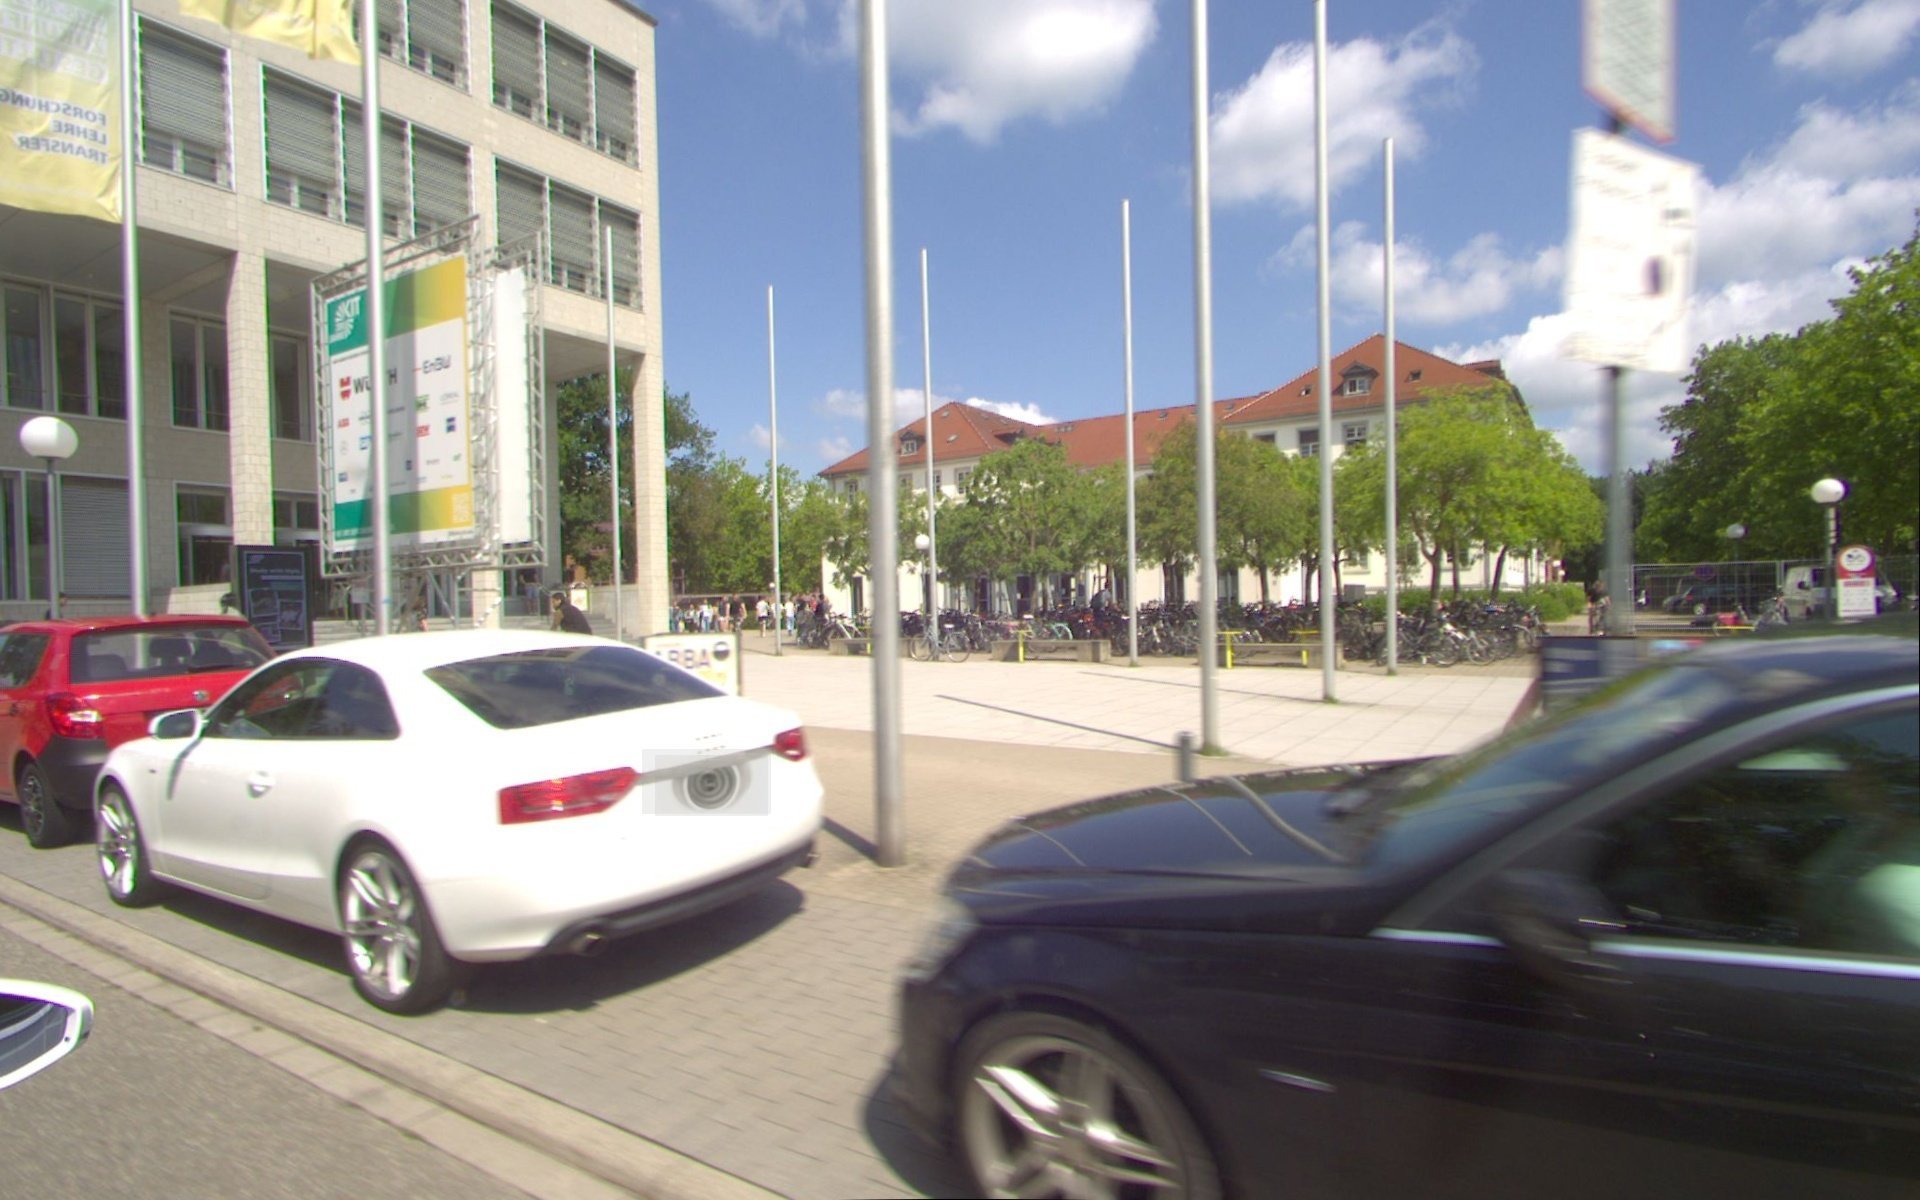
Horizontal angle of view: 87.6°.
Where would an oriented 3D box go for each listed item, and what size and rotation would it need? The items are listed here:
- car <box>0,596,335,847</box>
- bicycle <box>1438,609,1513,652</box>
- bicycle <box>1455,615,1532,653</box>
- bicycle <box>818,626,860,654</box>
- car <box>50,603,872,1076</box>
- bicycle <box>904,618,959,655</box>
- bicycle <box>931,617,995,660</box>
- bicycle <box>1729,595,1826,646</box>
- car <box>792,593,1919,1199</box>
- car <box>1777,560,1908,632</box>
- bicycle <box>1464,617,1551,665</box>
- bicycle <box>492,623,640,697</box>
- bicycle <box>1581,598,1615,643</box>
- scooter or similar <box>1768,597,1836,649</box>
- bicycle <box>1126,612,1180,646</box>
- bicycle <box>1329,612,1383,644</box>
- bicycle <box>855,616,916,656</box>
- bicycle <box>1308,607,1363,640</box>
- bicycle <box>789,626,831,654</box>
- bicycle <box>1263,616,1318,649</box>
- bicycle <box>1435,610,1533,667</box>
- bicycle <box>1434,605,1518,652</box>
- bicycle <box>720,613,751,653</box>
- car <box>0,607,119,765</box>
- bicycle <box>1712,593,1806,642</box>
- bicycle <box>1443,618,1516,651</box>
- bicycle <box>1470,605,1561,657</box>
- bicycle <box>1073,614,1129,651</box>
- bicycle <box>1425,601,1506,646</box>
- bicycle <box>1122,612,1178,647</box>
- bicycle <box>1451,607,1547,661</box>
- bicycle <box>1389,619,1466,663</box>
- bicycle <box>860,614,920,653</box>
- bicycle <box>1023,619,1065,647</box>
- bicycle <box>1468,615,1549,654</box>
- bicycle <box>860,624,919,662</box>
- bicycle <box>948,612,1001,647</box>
[{"bbox_3d":[-6.919,0.793,8.019,4.088,1.517,1.610,-1,2,33],"label":"car"},{"bbox_3d":[14.620,0.865,28.428,1.733,1.113,0.604,-3,-1,3],"label":"bicycle"},{"bbox_3d":[14.370,0.918,26.996,1.733,0.967,0.604,-1,-1,3],"label":"bicycle"},{"bbox_3d":[-3.713,1.228,30.830,0.511,0.803,1.764,-1,0,20],"label":"bicycle"},{"bbox_3d":[-2.715,0.811,5.068,4.377,1.419,1.713,-2,2,33],"label":"car"},{"bbox_3d":[-0.946,1.201,33.114,1.733,1.113,0.604,-3,-1,2],"label":"bicycle"},{"bbox_3d":[0.098,1.072,27.950,1.733,1.113,0.604,-3,-1,2],"label":"bicycle"},{"bbox_3d":[19.430,0.497,23.826,1.733,1.113,0.604,-3,-1,3],"label":"bicycle"},{"bbox_3d":[2.097,0.715,1.900,4.880,1.419,1.713,-2,1,33],"label":"car"},{"bbox_3d":[25.549,-0.088,29.194,1.876,1.889,4.918,-2,-1,30],"label":"car"},{"bbox_3d":[13.185,0.978,24.150,1.733,1.113,0.604,-1,-1,3],"label":"bicycle"},{"bbox_3d":[-6.229,0.940,15.822,2.118,1.093,0.901,-2,0,22],"label":"bicycle"},{"bbox_3d":[17.129,0.536,26.925,0.598,1.153,1.582,0,1,27],"label":"bicycle"},{"bbox_3d":[21.014,0.580,25.007,1.276,1.249,0.280,-2,1,19],"label":"scooter or similar"},{"bbox_3d":[6.717,1.009,34.829,1.733,1.113,0.604,-3,-1,2],"label":"bicycle"},{"bbox_3d":[14.947,1.069,37.816,1.733,1.113,0.604,-3,-1,2],"label":"bicycle"},{"bbox_3d":[-2.226,1.076,30.098,1.733,1.113,0.604,-3,-1,2],"label":"bicycle"},{"bbox_3d":[13.747,0.879,36.724,1.733,1.113,0.604,-3,-1,2],"label":"bicycle"},{"bbox_3d":[-4.690,1.252,31.372,0.511,0.803,1.764,-1,0,20],"label":"bicycle"},{"bbox_3d":[11.833,1.163,35.893,1.733,1.113,0.604,-3,-1,2],"label":"bicycle"},{"bbox_3d":[11.268,0.825,21.576,1.733,1.113,0.604,-3,-1,3],"label":"bicycle"},{"bbox_3d":[12.780,0.699,24.821,1.733,1.113,0.604,-1,0,3],"label":"bicycle"},{"bbox_3d":[-6.853,0.986,30.617,0.669,1.153,1.692,0,0,-4],"label":"bicycle"},{"bbox_3d":[-11.069,0.898,11.026,3.945,1.549,1.715,-2,0,34],"label":"car"},{"bbox_3d":[19.556,0.432,24.519,1.733,1.113,0.604,-3,-1,3],"label":"bicycle"},{"bbox_3d":[14.410,0.945,27.803,1.733,0.880,0.484,-1,-1,3],"label":"bicycle"},{"bbox_3d":[12.933,0.725,23.339,1.733,1.113,0.604,-3,-1,3],"label":"bicycle"},{"bbox_3d":[4.676,1.080,33.268,1.733,1.113,0.604,-3,-1,2],"label":"bicycle"},{"bbox_3d":[12.889,0.605,25.561,1.733,1.113,0.604,-1,-1,3],"label":"bicycle"},{"bbox_3d":[6.440,0.998,33.975,1.733,1.113,0.604,-3,-1,2],"label":"bicycle"},{"bbox_3d":[11.953,0.754,22.222,1.733,1.113,0.604,-3,-1,3],"label":"bicycle"},{"bbox_3d":[12.441,1.086,26.666,1.733,1.113,0.604,-1,-1,3],"label":"bicycle"},{"bbox_3d":[-2.137,1.021,30.817,1.733,1.113,0.604,-3,-1,2],"label":"bicycle"},{"bbox_3d":[3.604,1.408,42.947,1.733,1.113,0.604,-3,-1,2],"label":"bicycle"},{"bbox_3d":[14.332,0.896,26.190,1.733,0.967,0.604,-1,-1,3],"label":"bicycle"},{"bbox_3d":[-2.214,1.360,31.552,1.733,1.113,0.604,-3,-1,2],"label":"bicycle"},{"bbox_3d":[0.496,0.996,34.131,1.733,1.113,0.604,-3,-1,2],"label":"bicycle"}]
